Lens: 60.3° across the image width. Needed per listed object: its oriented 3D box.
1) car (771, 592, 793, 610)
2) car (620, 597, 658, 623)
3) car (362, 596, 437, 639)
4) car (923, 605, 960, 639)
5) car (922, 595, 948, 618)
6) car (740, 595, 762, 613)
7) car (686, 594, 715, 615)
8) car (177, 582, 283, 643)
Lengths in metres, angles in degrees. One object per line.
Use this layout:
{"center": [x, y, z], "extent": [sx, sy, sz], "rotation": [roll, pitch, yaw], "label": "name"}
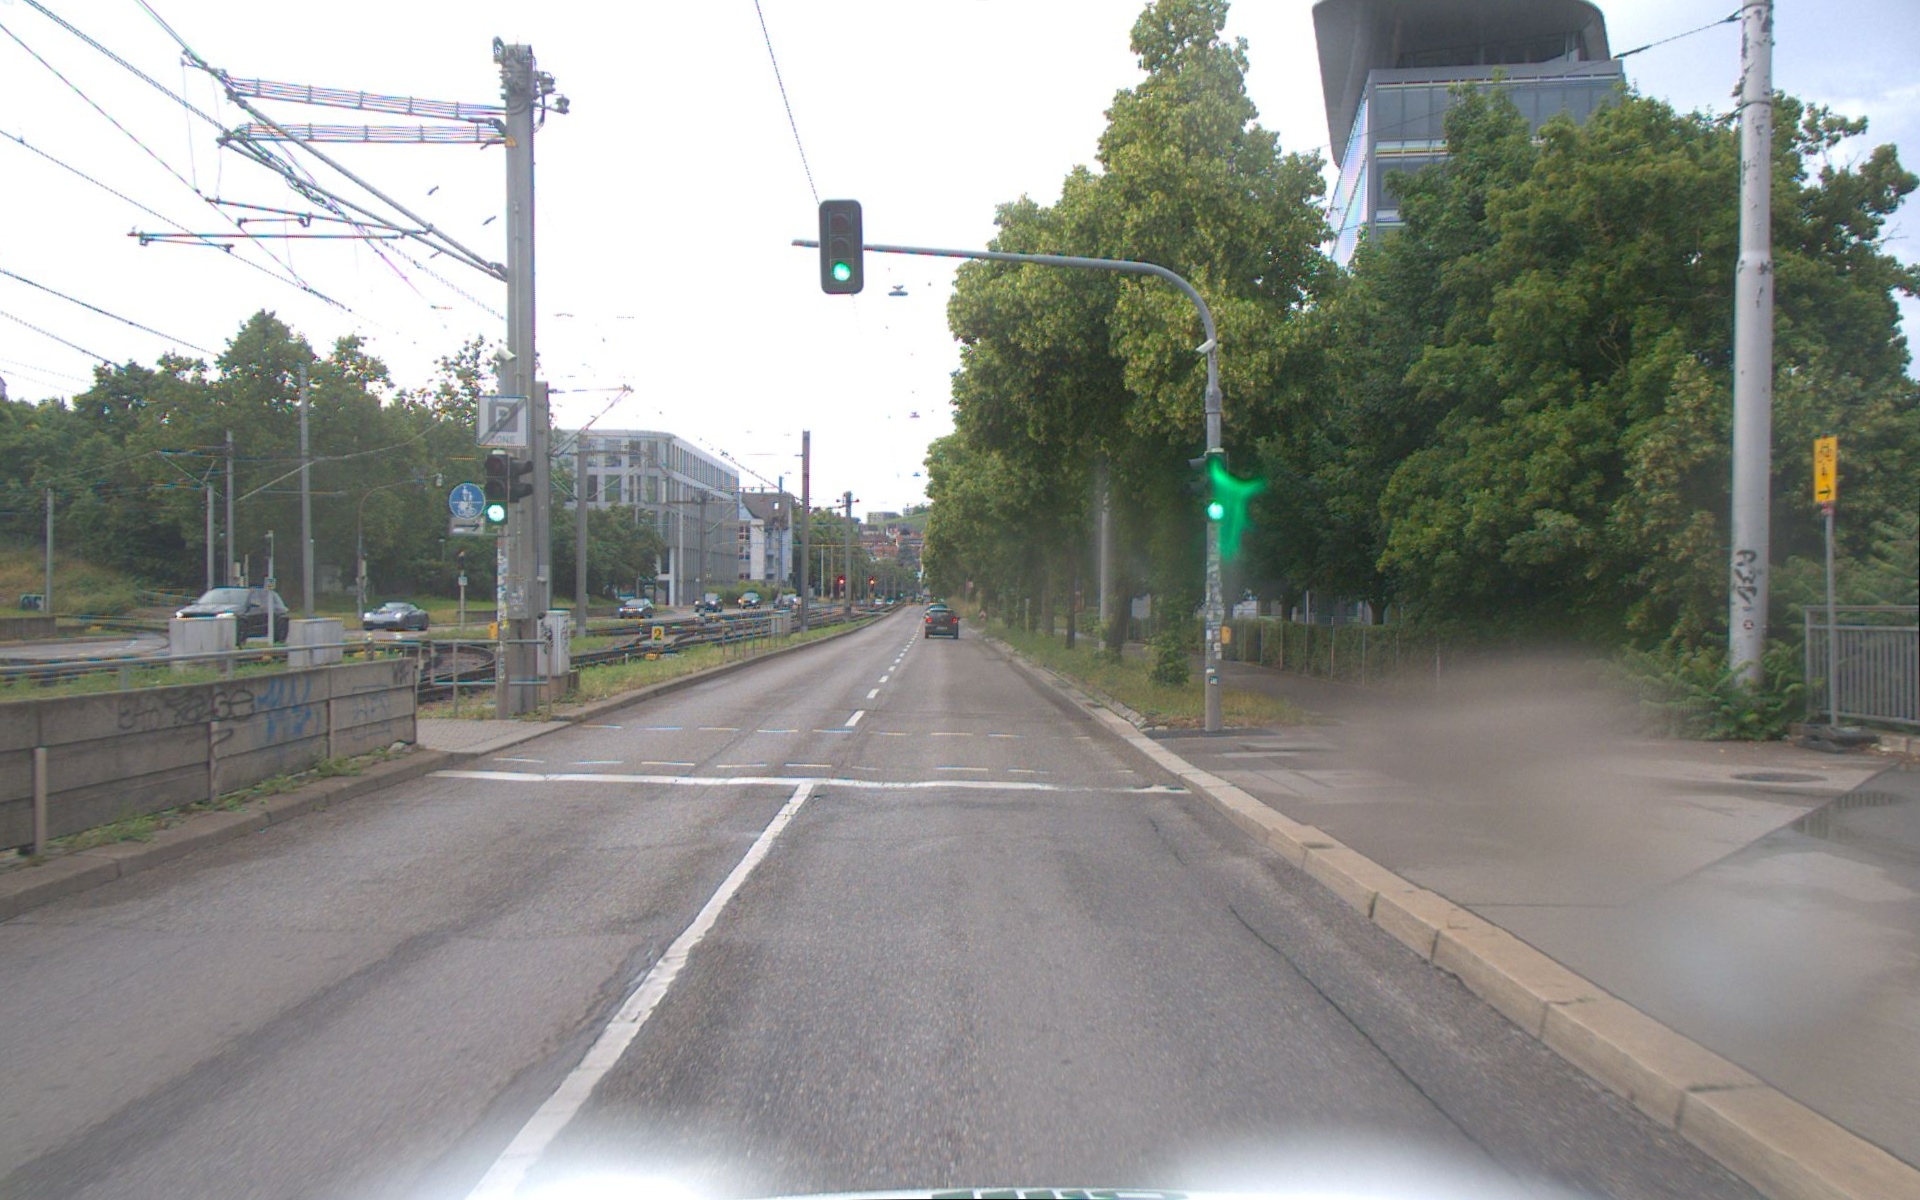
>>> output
{"center": [-19.648, 0.095, 182.505], "extent": [1.811, 1.660, 3.612], "rotation": [3, 2, 4], "label": "car"}
{"center": [-23.518, 0.739, 121.409], "extent": [1.811, 1.660, 3.612], "rotation": [3, 2, 4], "label": "car"}
{"center": [-25.271, 0.758, 74.648], "extent": [1.811, 1.660, 3.814], "rotation": [3, 2, 4], "label": "car"}
{"center": [-0.919, 1.042, 80.091], "extent": [1.692, 1.567, 3.999], "rotation": [1, 0, -1], "label": "car"}
{"center": [-1.673, 0.415, 109.252], "extent": [1.692, 1.449, 3.999], "rotation": [1, 0, -1], "label": "car"}
{"center": [-22.357, 0.422, 177.214], "extent": [1.618, 1.660, 3.612], "rotation": [3, 2, 4], "label": "car"}
{"center": [-23.590, 0.419, 150.337], "extent": [1.811, 1.660, 3.612], "rotation": [3, 2, 4], "label": "car"}
{"center": [-22.589, 0.354, 51.288], "extent": [1.632, 1.660, 3.306], "rotation": [3, 2, 4], "label": "car"}
